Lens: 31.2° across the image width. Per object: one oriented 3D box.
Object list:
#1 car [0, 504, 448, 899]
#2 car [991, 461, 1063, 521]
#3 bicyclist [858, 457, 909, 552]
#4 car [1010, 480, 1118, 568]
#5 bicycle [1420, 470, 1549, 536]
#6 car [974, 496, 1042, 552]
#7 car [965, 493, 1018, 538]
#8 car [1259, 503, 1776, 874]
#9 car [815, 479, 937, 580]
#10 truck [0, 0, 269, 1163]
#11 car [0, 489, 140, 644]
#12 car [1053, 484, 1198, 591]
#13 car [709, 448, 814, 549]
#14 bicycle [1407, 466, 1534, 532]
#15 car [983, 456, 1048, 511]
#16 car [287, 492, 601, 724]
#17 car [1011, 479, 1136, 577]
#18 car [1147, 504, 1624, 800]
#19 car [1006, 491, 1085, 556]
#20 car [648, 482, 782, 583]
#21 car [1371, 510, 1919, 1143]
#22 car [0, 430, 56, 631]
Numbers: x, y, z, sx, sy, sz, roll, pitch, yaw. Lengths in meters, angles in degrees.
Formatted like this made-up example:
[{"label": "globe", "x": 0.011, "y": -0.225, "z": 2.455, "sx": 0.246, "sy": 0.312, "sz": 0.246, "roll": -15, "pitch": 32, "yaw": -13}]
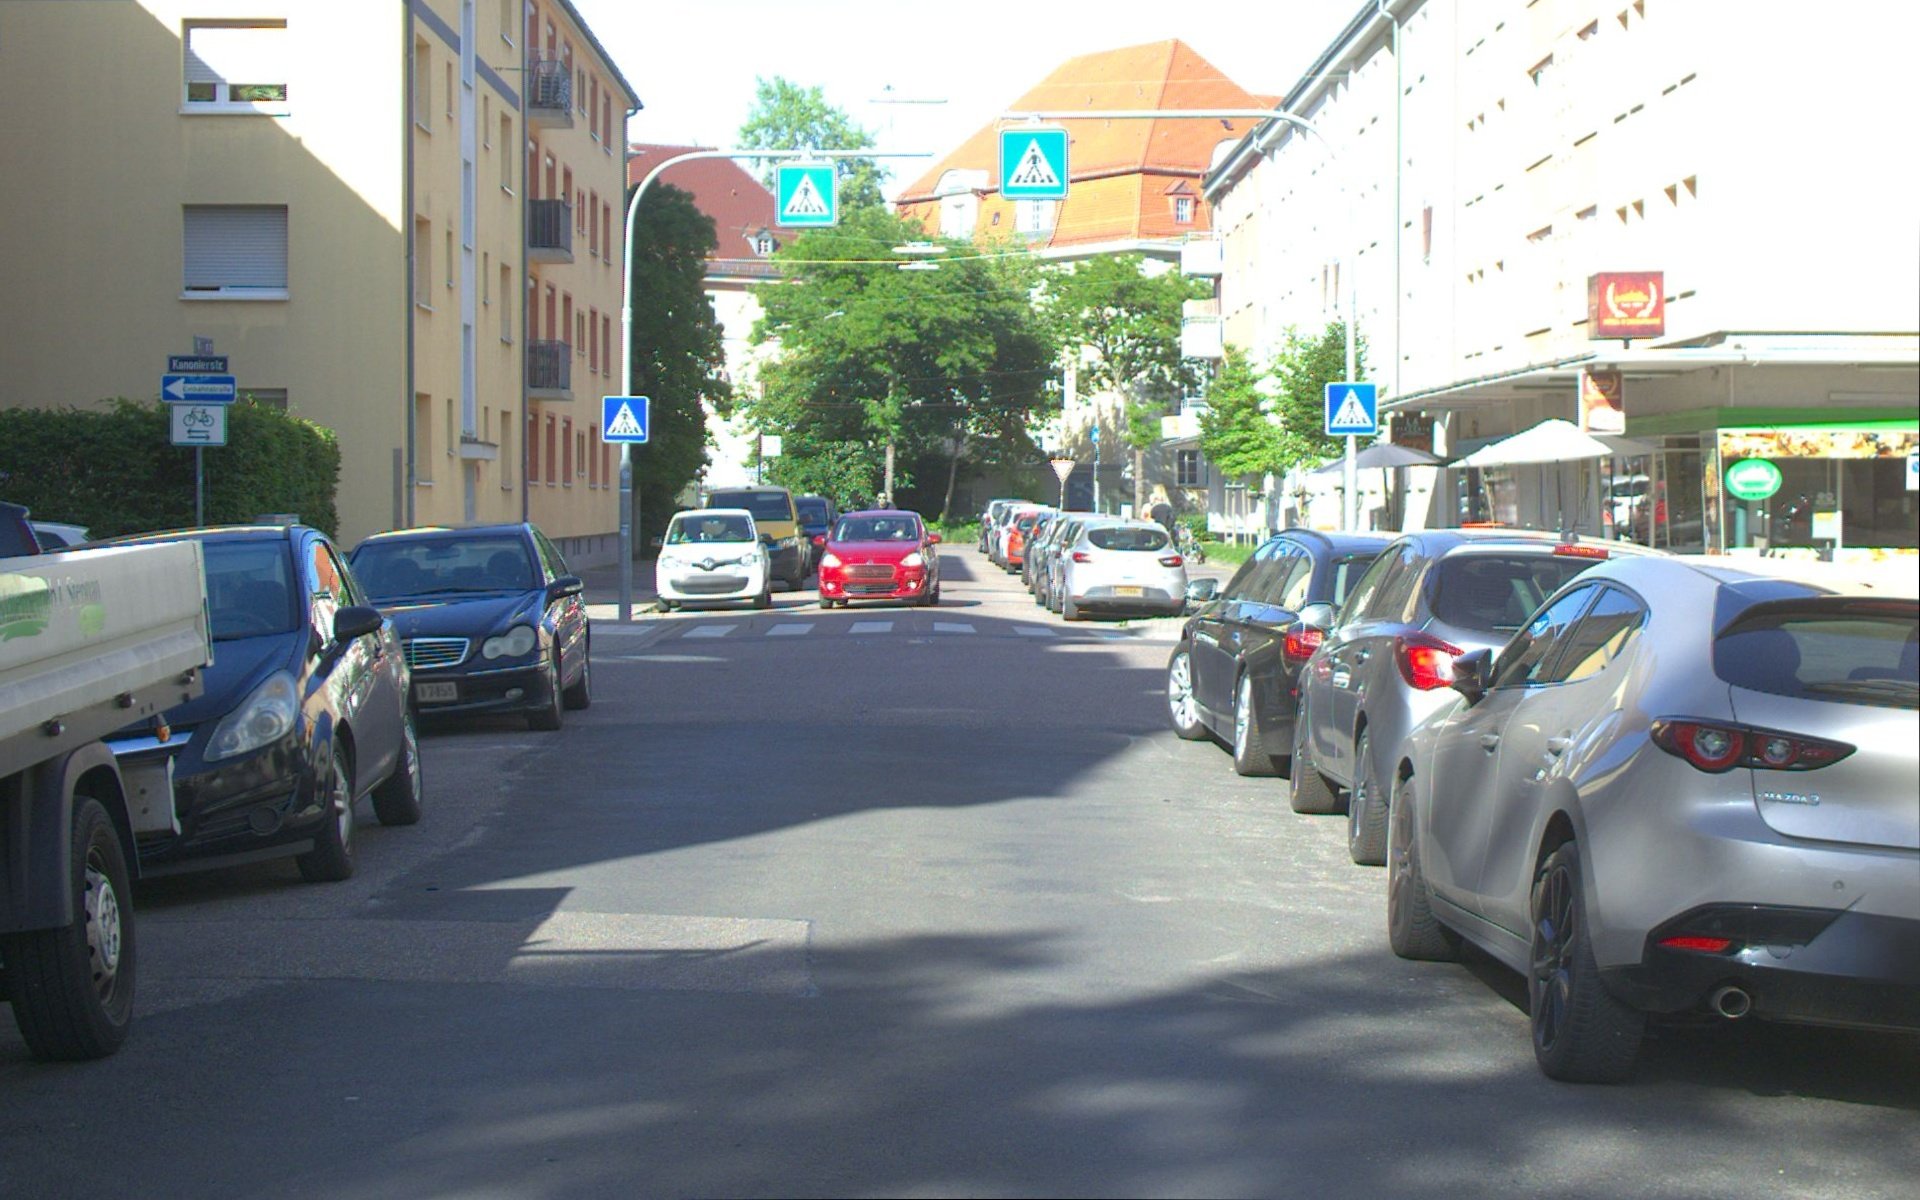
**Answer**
[{"label": "car", "x": -3.264, "y": 0.349, "z": 14.787, "sx": 1.645, "sy": 1.411, "sz": 4.081, "roll": -3, "pitch": 1, "yaw": -3}, {"label": "car", "x": 1.670, "y": -2.762, "z": 86.562, "sx": 1.637, "sy": 1.435, "sz": 3.419, "roll": -1, "pitch": 3, "yaw": -1}, {"label": "bicyclist", "x": -1.313, "y": -1.631, "z": 58.905, "sx": 0.786, "sy": 1.615, "sz": 0.956, "roll": 0, "pitch": 2, "yaw": 4}, {"label": "car", "x": 1.782, "y": -1.335, "z": 59.782, "sx": 1.637, "sy": 1.436, "sz": 3.419, "roll": 2, "pitch": 2, "yaw": -2}, {"label": "bicycle", "x": 8.025, "y": -1.484, "z": 52.629, "sx": 1.806, "sy": 0.964, "sz": 0.674, "roll": 1, "pitch": 1, "yaw": -11}, {"label": "car", "x": 1.266, "y": -2.028, "z": 91.356, "sx": 1.637, "sy": 1.436, "sz": 3.419, "roll": 2, "pitch": 2, "yaw": -1}, {"label": "car", "x": 1.035, "y": -2.830, "z": 115.028, "sx": 1.637, "sy": 1.436, "sz": 3.419, "roll": 2, "pitch": 2, "yaw": -1}, {"label": "car", "x": 2.460, "y": 0.335, "z": 16.082, "sx": 1.645, "sy": 1.455, "sz": 3.940, "roll": 2, "pitch": 1, "yaw": -1}, {"label": "car", "x": -1.305, "y": -1.081, "z": 52.163, "sx": 1.697, "sy": 1.436, "sz": 3.419, "roll": 2, "pitch": 2, "yaw": -3}, {"label": "truck", "x": -3.409, "y": -0.107, "z": 7.475, "sx": 2.259, "sy": 2.975, "sz": 7.277, "roll": -6, "pitch": 1, "yaw": -2}, {"label": "car", "x": -10.201, "y": -0.376, "z": 33.895, "sx": 3.978, "sy": 1.474, "sz": 1.595, "roll": 1, "pitch": 2, "yaw": -18}, {"label": "car", "x": 2.328, "y": -0.911, "z": 49.209, "sx": 1.845, "sy": 1.436, "sz": 3.419, "roll": 2, "pitch": 2, "yaw": 0}, {"label": "car", "x": -3.683, "y": -1.892, "z": 64.381, "sx": 1.697, "sy": 1.772, "sz": 4.099, "roll": 2, "pitch": 2, "yaw": 0}, {"label": "bicycle", "x": 7.903, "y": -1.560, "z": 53.255, "sx": 1.806, "sy": 0.964, "sz": 0.674, "roll": 1, "pitch": 1, "yaw": -11}, {"label": "car", "x": 1.519, "y": -3.236, "z": 95.805, "sx": 1.637, "sy": 1.436, "sz": 3.419, "roll": 2, "pitch": 2, "yaw": -1}, {"label": "car", "x": -3.534, "y": 0.013, "z": 24.222, "sx": 1.703, "sy": 1.411, "sz": 4.375, "roll": -3, "pitch": 1, "yaw": -3}, {"label": "car", "x": 1.750, "y": -1.138, "z": 53.919, "sx": 1.690, "sy": 1.436, "sz": 3.419, "roll": 2, "pitch": 2, "yaw": -2}, {"label": "car", "x": 2.418, "y": 0.240, "z": 20.825, "sx": 1.853, "sy": 1.518, "sz": 4.778, "roll": 2, "pitch": 1, "yaw": -5}, {"label": "car", "x": 1.978, "y": -1.795, "z": 80.454, "sx": 1.637, "sy": 1.436, "sz": 3.419, "roll": 2, "pitch": 2, "yaw": -1}, {"label": "car", "x": -3.775, "y": -1.082, "z": 53.460, "sx": 1.791, "sy": 1.475, "sz": 4.099, "roll": 1, "pitch": 2, "yaw": 0}, {"label": "car", "x": 2.475, "y": 0.556, "z": 10.515, "sx": 1.792, "sy": 1.466, "sz": 4.339, "roll": 5, "pitch": 1, "yaw": 0}, {"label": "car", "x": -9.733, "y": -0.632, "z": 27.985, "sx": 4.463, "sy": 1.610, "sz": 1.779, "roll": 1, "pitch": 2, "yaw": -18}]
